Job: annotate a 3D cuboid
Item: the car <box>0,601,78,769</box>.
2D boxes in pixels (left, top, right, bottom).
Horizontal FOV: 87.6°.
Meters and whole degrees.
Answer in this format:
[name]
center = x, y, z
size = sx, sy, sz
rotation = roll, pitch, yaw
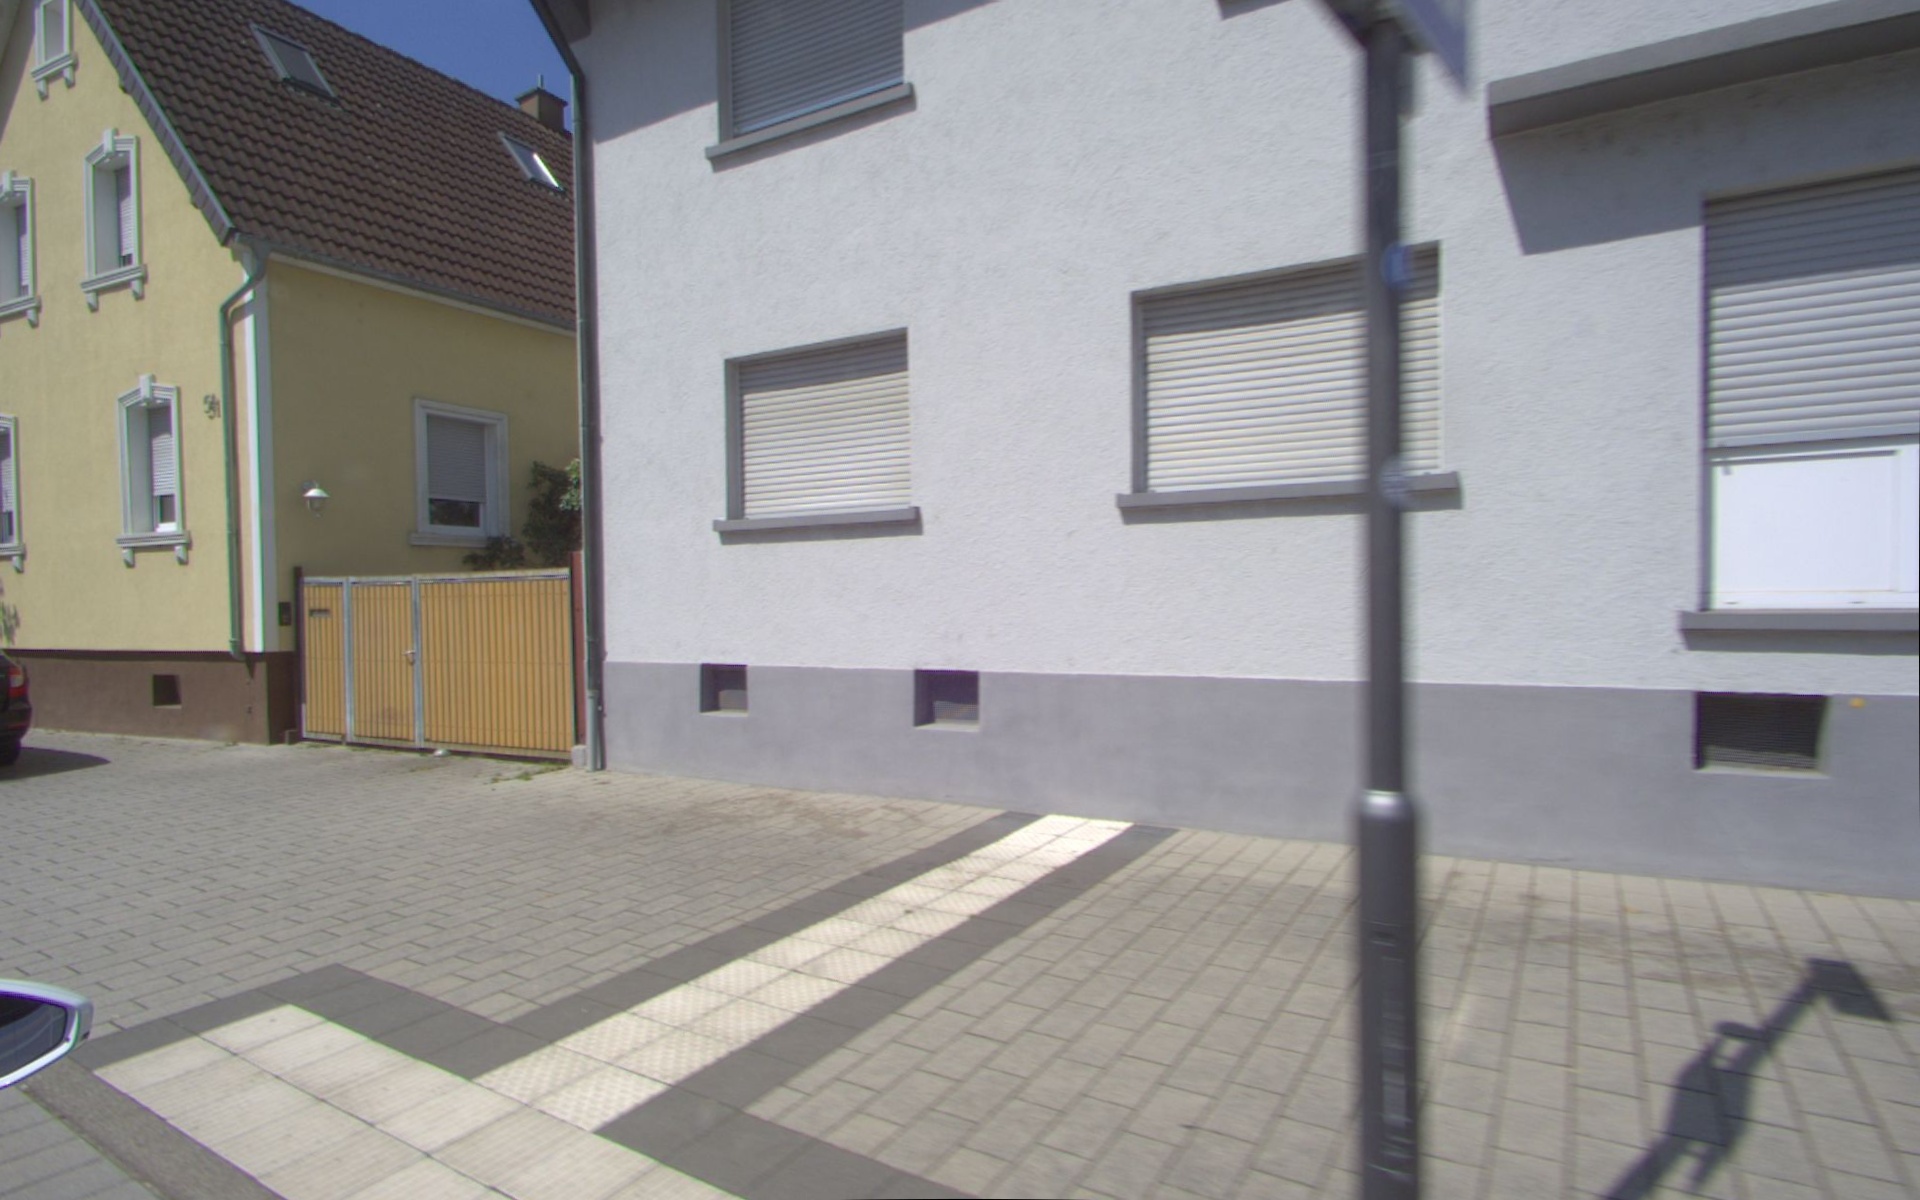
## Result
[car]
center = -10.665, 0.824, 9.682
size = 4.211, 1.491, 1.826
rotation = -1, 2, 29
